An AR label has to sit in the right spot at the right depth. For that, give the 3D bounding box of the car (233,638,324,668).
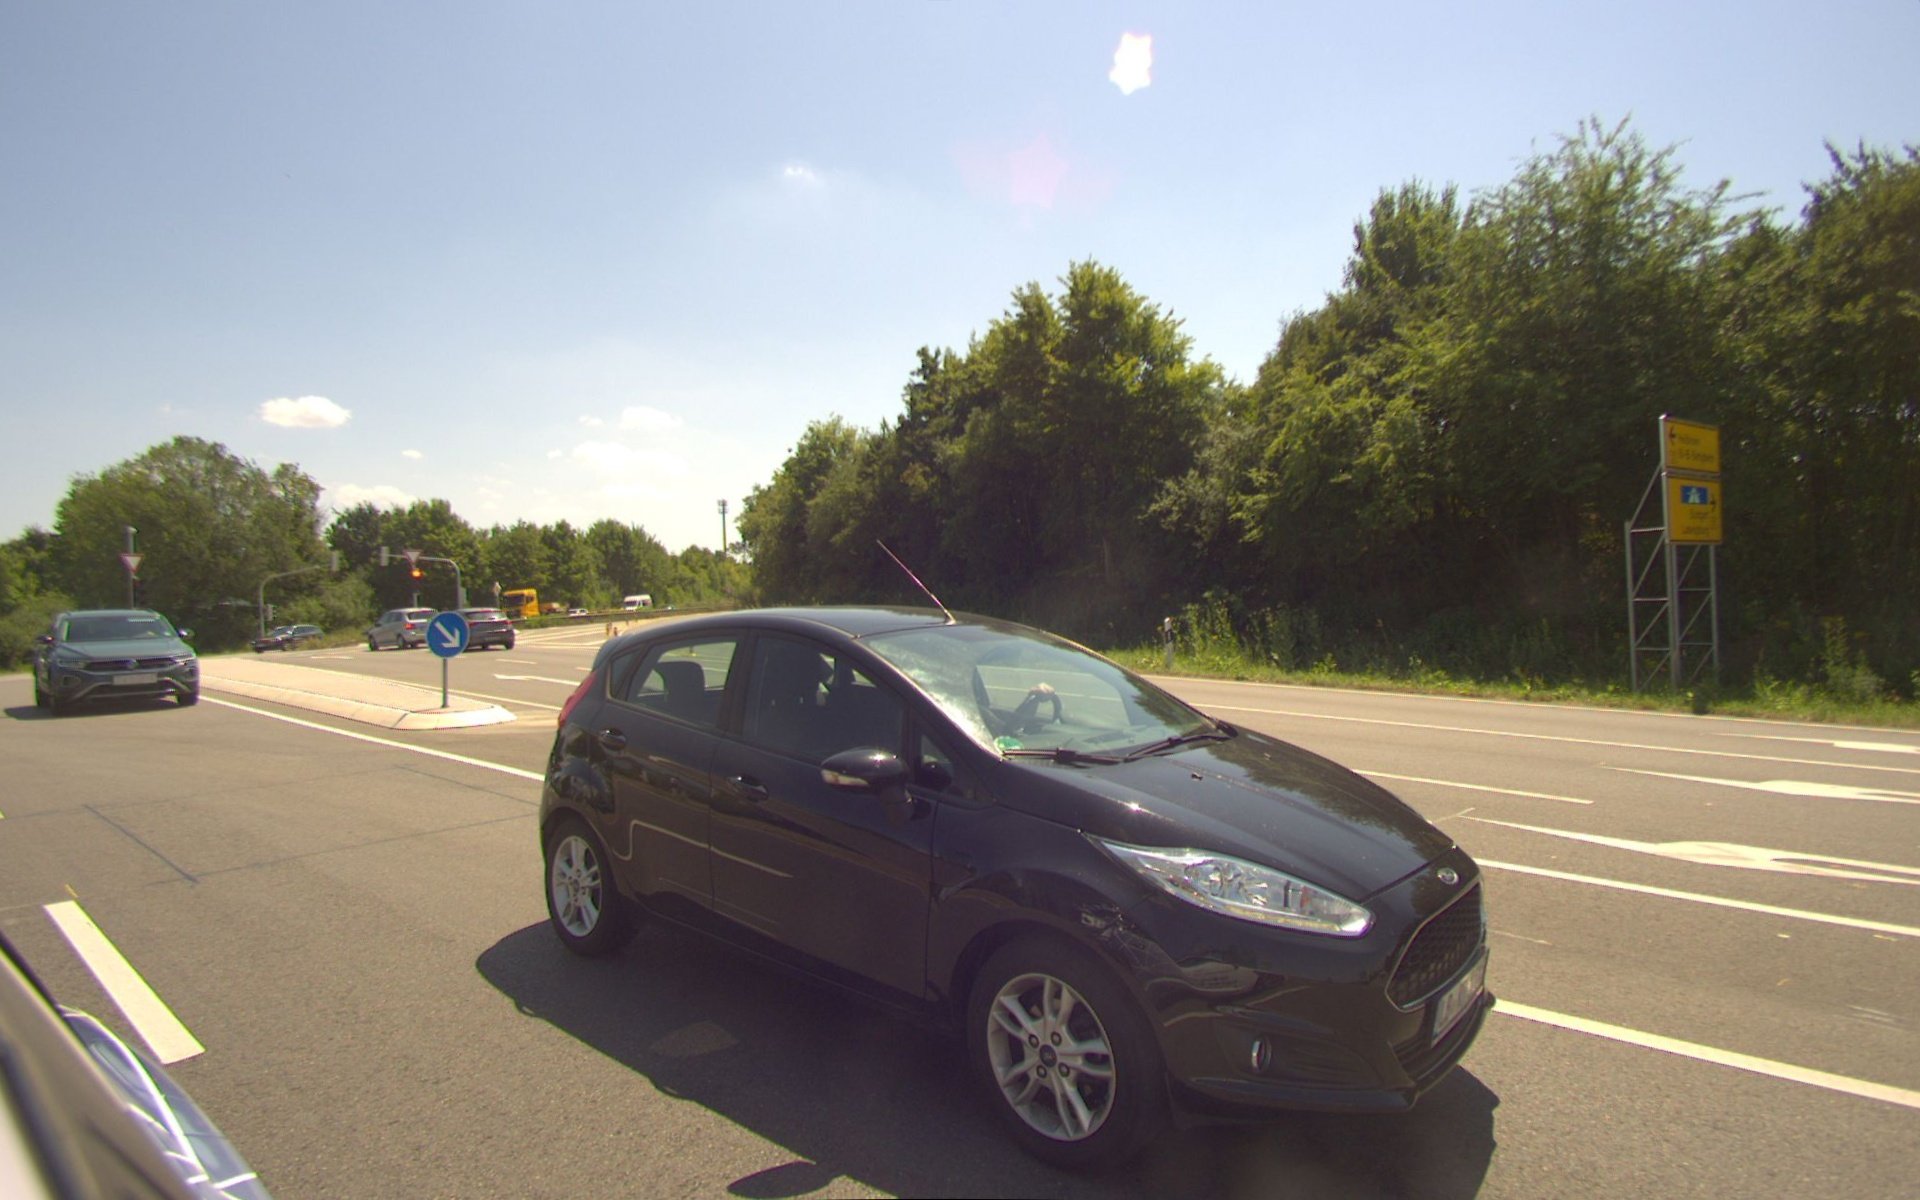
[{"bbox_3d":[-40.335,3.142,60.031,2.094,1.603,4.439,-1,-1,8],"label":"car"}]

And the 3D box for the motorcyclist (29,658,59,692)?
[{"bbox_3d":[-42.183,3.444,46.593,0.847,1.500,1.165,1,-3,-35],"label":"motorcyclist"}]

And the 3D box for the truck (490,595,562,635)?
[{"bbox_3d":[-40.986,1.368,95.870,2.952,3.564,6.838,-3,0,9],"label":"truck"}]

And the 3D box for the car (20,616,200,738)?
[{"bbox_3d":[-13.589,1.128,16.078,1.814,1.598,4.394,-3,0,-45],"label":"car"}]

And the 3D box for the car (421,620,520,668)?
[{"bbox_3d":[-17.083,1.529,35.209,1.970,1.450,4.227,-3,0,-42],"label":"car"}]

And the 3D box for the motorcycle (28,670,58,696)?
[{"bbox_3d":[-42.156,3.795,46.533,0.722,1.147,2.078,2,-3,-35],"label":"motorcycle"}]

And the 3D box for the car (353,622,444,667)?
[{"bbox_3d":[-22.570,1.804,40.620,4.347,1.611,1.593,-4,0,38],"label":"car"}]

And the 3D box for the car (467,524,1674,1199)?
[{"bbox_3d":[-0.067,0.693,3.710,4.205,1.505,1.636,-3,-2,41],"label":"car"}]

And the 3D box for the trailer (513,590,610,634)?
[{"bbox_3d":[-40.094,1.120,102.634,3.037,4.093,13.142,-3,0,7],"label":"trailer"}]

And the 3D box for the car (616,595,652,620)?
[{"bbox_3d":[-37.762,0.847,117.344,2.140,2.627,5.476,-3,0,2],"label":"car"}]
